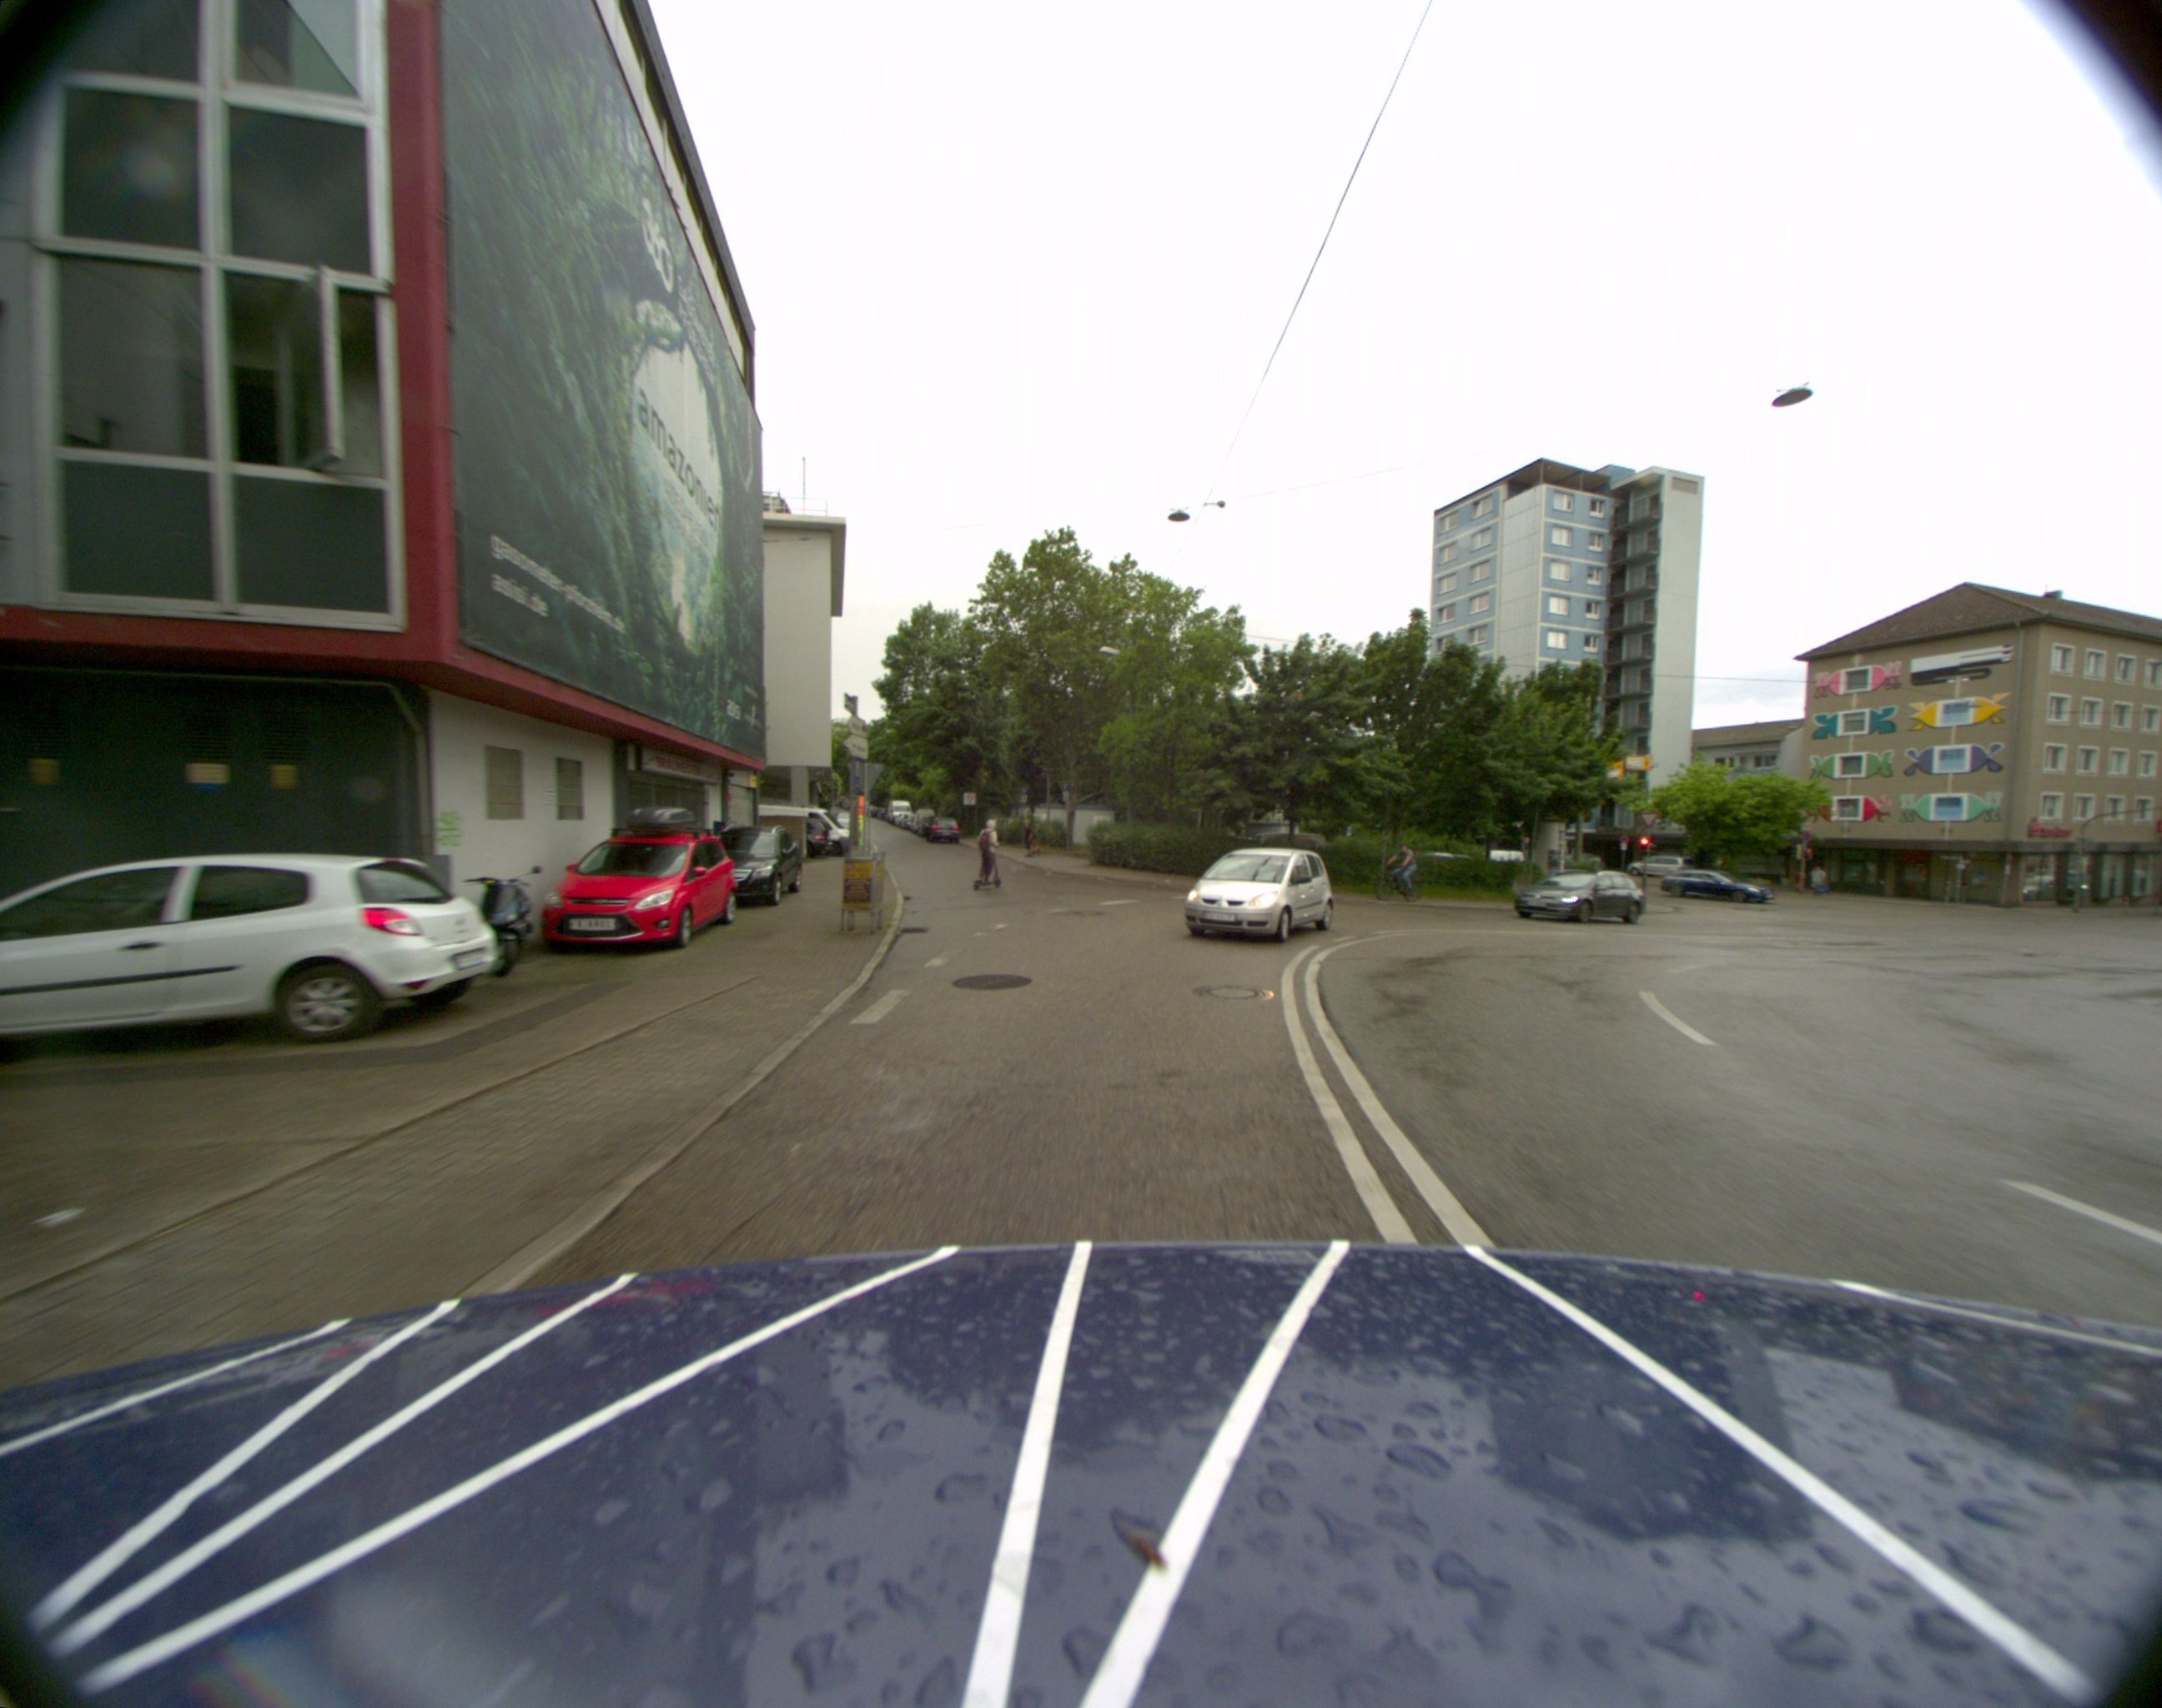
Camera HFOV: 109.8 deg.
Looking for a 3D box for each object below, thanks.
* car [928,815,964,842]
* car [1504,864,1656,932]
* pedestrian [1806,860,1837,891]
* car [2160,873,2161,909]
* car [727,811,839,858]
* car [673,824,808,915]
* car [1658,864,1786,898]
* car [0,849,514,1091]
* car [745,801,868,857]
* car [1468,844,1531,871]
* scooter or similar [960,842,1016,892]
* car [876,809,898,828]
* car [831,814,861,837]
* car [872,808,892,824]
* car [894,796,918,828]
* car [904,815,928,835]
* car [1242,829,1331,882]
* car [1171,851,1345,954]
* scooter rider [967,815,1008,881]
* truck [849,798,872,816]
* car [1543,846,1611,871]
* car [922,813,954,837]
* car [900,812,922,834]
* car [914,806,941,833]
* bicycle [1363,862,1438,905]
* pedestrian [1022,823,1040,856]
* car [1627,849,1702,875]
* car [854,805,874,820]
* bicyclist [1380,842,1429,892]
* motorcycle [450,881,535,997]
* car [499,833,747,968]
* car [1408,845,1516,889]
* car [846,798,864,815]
[{"bbox_3d":[-8.988,-1.711,50.240,1.910,1.642,3.992,2,3,-16],"label":"car"},{"bbox_3d":[14.369,1.285,21.836,4.511,1.495,1.683,7,-1,-29],"label":"car"},{"bbox_3d":[43.367,1.255,44.482,0.819,1.764,0.901,3,3,-20],"label":"pedestrian"},{"bbox_3d":[60.288,1.798,40.155,5.476,2.509,2.229,3,0,-19],"label":"car"},{"bbox_3d":[-12.487,-0.836,32.046,4.000,1.684,1.881,3,3,-8],"label":"car"},{"bbox_3d":[-7.655,0.254,17.491,1.933,1.702,3.993,3,3,-11],"label":"car"},{"bbox_3d":[32.747,1.329,38.992,1.823,1.388,4.648,0,3,-24],"label":"car"},{"bbox_3d":[-7.448,0.873,6.228,3.995,1.524,1.872,4,1,-15],"label":"car"},{"bbox_3d":[-12.400,-1.148,34.621,4.892,2.199,1.881,3,3,-8],"label":"car"},{"bbox_3d":[34.181,0.249,62.201,1.993,1.845,4.222,3,3,-17],"label":"car"},{"bbox_3d":[-2.624,0.346,21.542,0.802,1.316,1.411,4,5,39],"label":"scooter or similar"},{"bbox_3d":[-23.406,-4.291,91.505,1.911,2.024,3.990,1,3,-23],"label":"car"},{"bbox_3d":[-16.965,-2.090,54.992,1.910,1.494,3.992,2,3,-16],"label":"car"},{"bbox_3d":[-26.137,-5.015,99.844,1.911,1.930,3.990,1,3,-23],"label":"car"},{"bbox_3d":[-19.289,-4.591,83.439,2.225,3.265,5.069,2,3,-16],"label":"car"},{"bbox_3d":[-15.161,-2.666,69.642,1.910,1.642,3.992,2,3,-16],"label":"car"},{"bbox_3d":[8.465,0.005,31.680,1.638,1.949,4.205,5,1,-13],"label":"car"},{"bbox_3d":[3.327,0.744,13.796,1.682,1.496,3.846,3,3,35],"label":"car"},{"bbox_3d":[-2.633,-0.179,21.483,0.802,1.811,0.783,4,5,39],"label":"scooter rider"},{"bbox_3d":[-32.486,-6.920,111.888,2.055,2.615,3.988,1,4,-32],"label":"truck"},{"bbox_3d":[38.617,0.329,59.229,1.652,1.657,4.176,0,4,-20],"label":"car"},{"bbox_3d":[-10.711,-2.203,56.650,1.910,1.642,3.992,2,3,-16],"label":"car"},{"bbox_3d":[-16.979,-3.067,75.662,1.910,2.024,3.992,2,3,-16],"label":"car"},{"bbox_3d":[-12.800,-2.900,63.214,1.910,2.064,3.992,2,3,-16],"label":"car"},{"bbox_3d":[10.518,0.974,25.010,2.136,1.181,0.886,4,5,-23],"label":"bicycle"},{"bbox_3d":[-2.434,-0.707,36.760,0.704,1.559,0.621,1,4,-14],"label":"pedestrian"},{"bbox_3d":[44.135,0.579,57.583,1.652,1.657,4.176,0,4,-20],"label":"car"},{"bbox_3d":[-29.952,-5.762,104.899,1.912,1.930,3.988,1,3,-28],"label":"car"},{"bbox_3d":[10.631,0.427,24.987,0.970,1.482,0.886,4,5,-23],"label":"bicyclist"},{"bbox_3d":[-6.931,0.953,9.006,0.452,1.154,1.420,0,2,-24],"label":"motorcycle"},{"bbox_3d":[-6.907,0.563,12.095,1.933,1.702,4.486,2,2,-11],"label":"car"},{"bbox_3d":[17.199,0.551,34.537,1.640,1.612,4.201,5,1,-24],"label":"car"},{"bbox_3d":[-34.671,-7.297,116.526,1.795,2.615,3.988,1,3,-30],"label":"car"}]
